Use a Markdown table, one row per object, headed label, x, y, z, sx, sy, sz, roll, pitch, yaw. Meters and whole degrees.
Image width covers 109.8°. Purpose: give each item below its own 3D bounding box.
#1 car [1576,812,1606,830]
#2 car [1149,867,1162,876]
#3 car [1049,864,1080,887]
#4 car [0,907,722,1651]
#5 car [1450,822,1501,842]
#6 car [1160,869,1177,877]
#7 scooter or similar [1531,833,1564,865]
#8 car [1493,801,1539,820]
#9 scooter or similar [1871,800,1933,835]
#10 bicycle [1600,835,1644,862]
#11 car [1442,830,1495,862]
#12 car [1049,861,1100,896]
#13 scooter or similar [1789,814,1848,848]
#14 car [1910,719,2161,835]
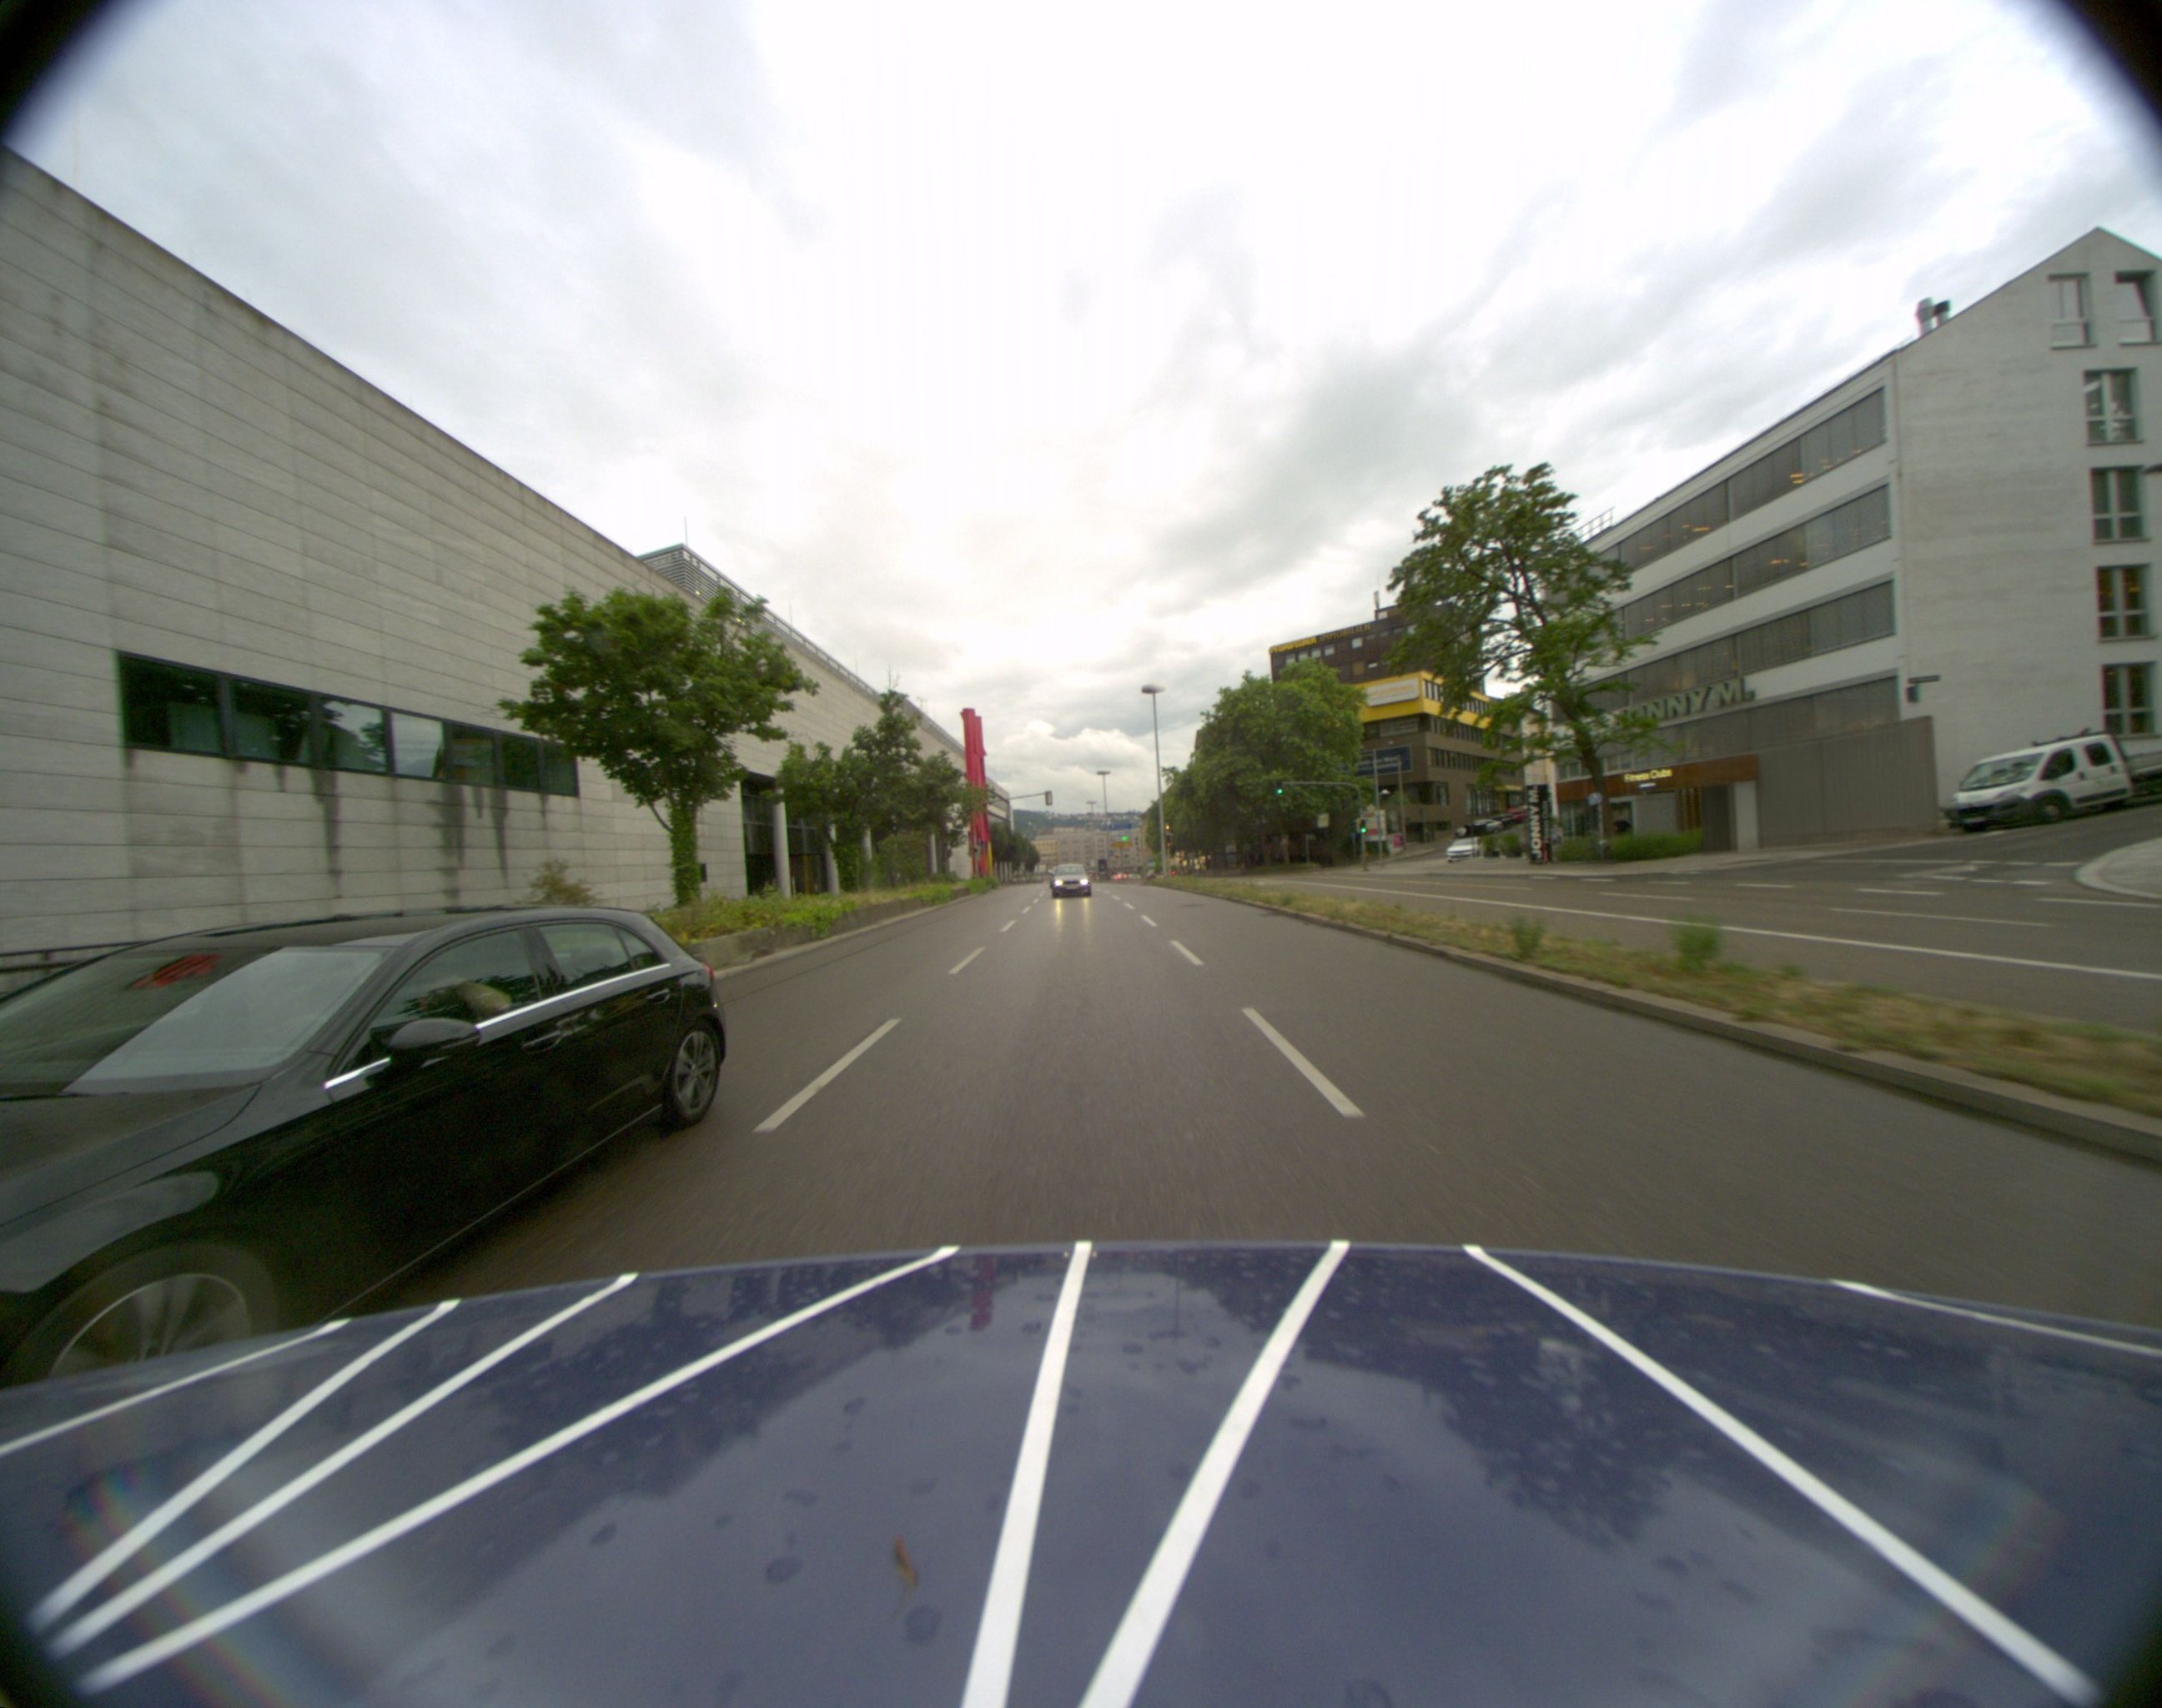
| label | x | y | z | sx | sy | sz | roll | pitch | yaw |
| --- | --- | --- | --- | --- | --- | --- | --- | --- | --- |
| car | 56.354 | -3.662 | 83.926 | 1.995 | 1.566 | 4.495 | -5 | 0 | 42 |
| car | 14.564 | 3.383 | 148.699 | 1.758 | 1.510 | 4.169 | -3 | 0 | -2 |
| car | -1.061 | 1.425 | 51.051 | 1.863 | 1.449 | 4.207 | -1 | -2 | 1 |
| car | -3.329 | 1.086 | 2.867 | 1.877 | 1.428 | 4.205 | -3 | 0 | 0 |
| car | 38.316 | -2.148 | 73.800 | 3.990 | 1.674 | 1.824 | -4 | 0 | 43 |
| car | 15.932 | 3.480 | 138.200 | 1.999 | 1.438 | 4.880 | -2 | -1 | -5 |
| scooter or similar | 20.839 | -0.237 | 33.938 | 1.757 | 1.240 | 0.369 | -6 | 1 | -29 |
| car | 47.796 | -4.741 | 83.575 | 3.989 | 1.675 | 1.823 | -4 | 3 | 43 |
| scooter or similar | 27.255 | -1.204 | 25.239 | 1.472 | 0.916 | 0.444 | -8 | -1 | -1 |
| bicycle | 21.175 | -0.192 | 29.780 | 0.458 | 0.985 | 1.758 | -4 | 0 | 1 |
| car | 25.090 | -0.550 | 49.104 | 1.995 | 1.644 | 4.851 | -5 | 0 | 39 |
| car | -0.237 | 1.099 | 34.156 | 1.862 | 1.427 | 4.208 | -2 | -2 | 5 |
| scooter or similar | 24.744 | -0.756 | 25.496 | 1.472 | 0.916 | 0.444 | -8 | -1 | -1 |
| car | 28.982 | -2.371 | 21.897 | 6.919 | 2.261 | 2.516 | -10 | -4 | 1 |
